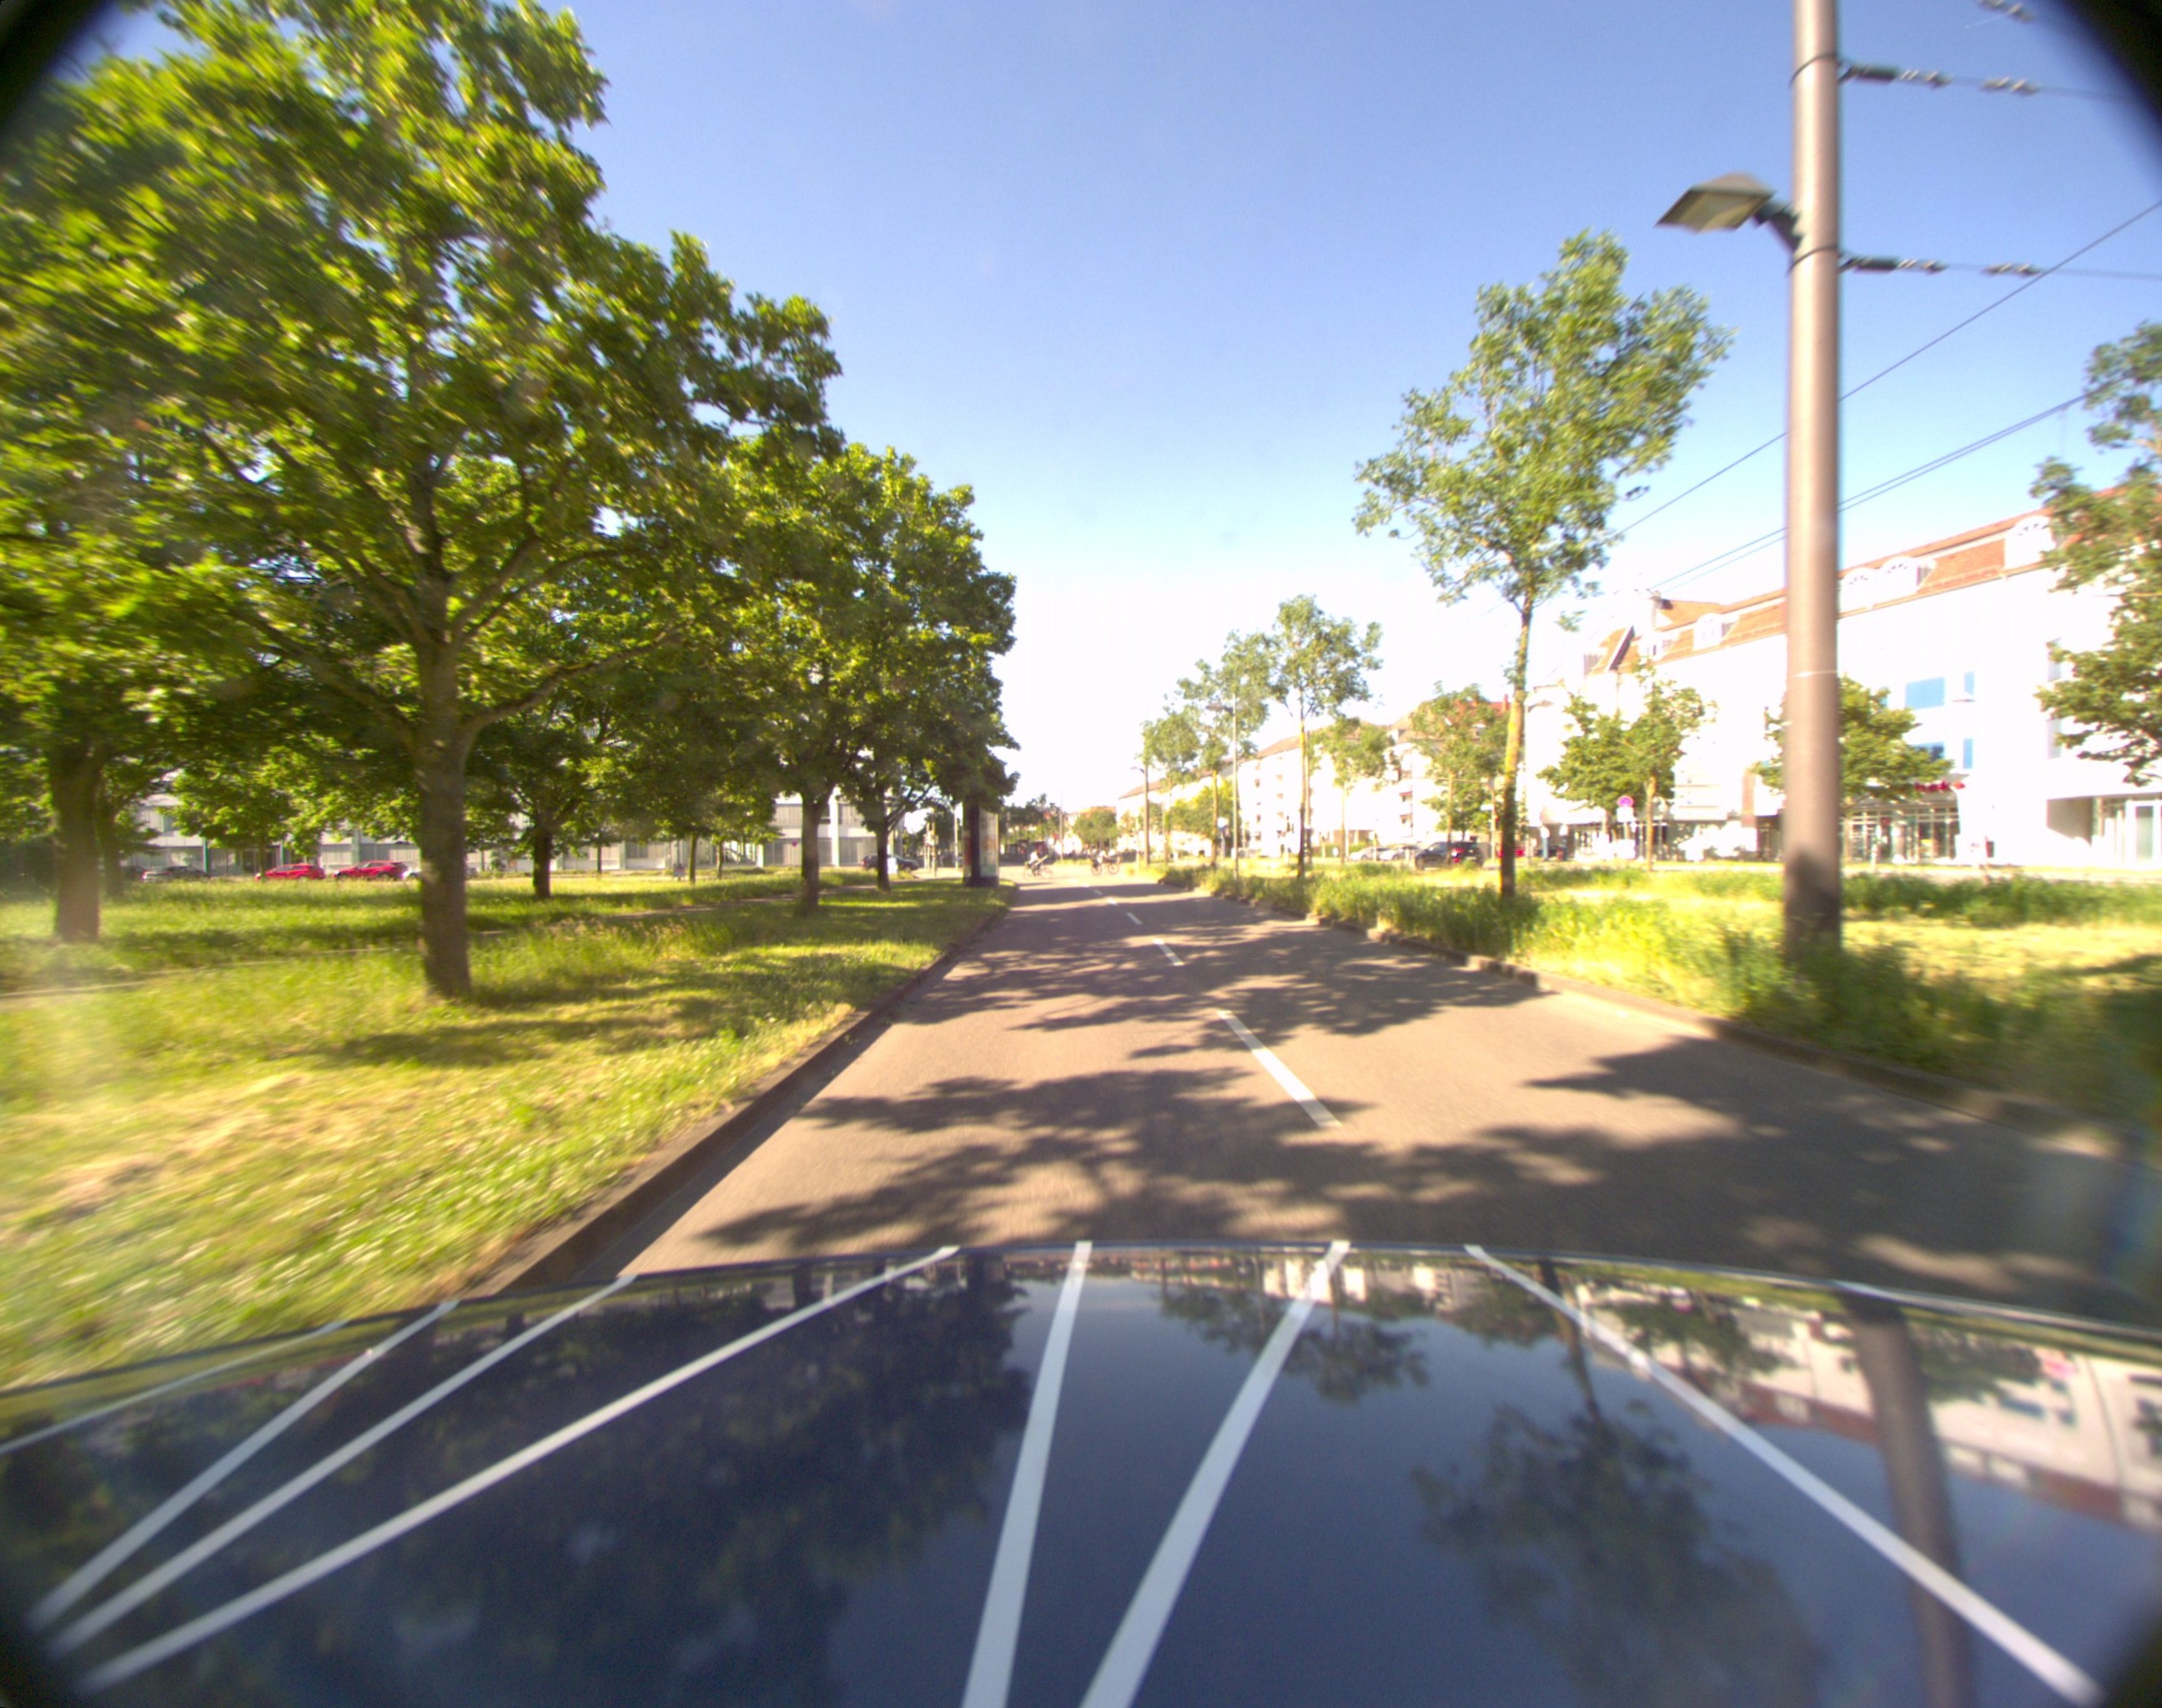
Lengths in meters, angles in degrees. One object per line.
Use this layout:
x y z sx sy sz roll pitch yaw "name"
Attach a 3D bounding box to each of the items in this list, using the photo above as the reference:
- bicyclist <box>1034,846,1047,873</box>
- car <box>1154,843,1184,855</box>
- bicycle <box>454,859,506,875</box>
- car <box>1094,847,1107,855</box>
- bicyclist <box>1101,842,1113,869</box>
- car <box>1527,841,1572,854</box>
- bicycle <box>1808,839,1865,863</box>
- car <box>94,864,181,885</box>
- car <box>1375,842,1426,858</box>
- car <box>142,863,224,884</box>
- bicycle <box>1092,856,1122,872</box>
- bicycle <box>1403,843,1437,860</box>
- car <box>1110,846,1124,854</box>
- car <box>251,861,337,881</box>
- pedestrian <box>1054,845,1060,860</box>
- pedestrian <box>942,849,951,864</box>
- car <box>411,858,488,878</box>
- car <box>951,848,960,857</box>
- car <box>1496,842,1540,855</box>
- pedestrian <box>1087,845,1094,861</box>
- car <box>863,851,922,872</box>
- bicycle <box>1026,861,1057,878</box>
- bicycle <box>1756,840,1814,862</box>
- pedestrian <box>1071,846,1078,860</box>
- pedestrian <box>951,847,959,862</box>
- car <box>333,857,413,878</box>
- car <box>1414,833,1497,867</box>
-2.450 0.335 45.364 0.715 1.591 0.849 -1 1 -5 "bicyclist"
13.711 -0.761 118.487 4.232 1.700 1.696 -1 1 19 "car"
-53.403 1.177 67.580 3.536 1.340 0.989 -1 1 -12 "bicycle"
4.429 -0.724 171.445 1.834 1.700 4.236 -1 0 -12 "car"
1.668 0.107 48.855 0.715 1.682 0.816 -1 1 -4 "bicyclist"
49.734 -0.666 80.652 4.091 1.303 1.701 -1 1 -13 "car"
40.706 -0.159 40.943 2.552 1.206 0.719 -1 1 -6 "bicycle"
-72.186 1.522 58.212 1.920 1.412 4.282 -1 0 -14 "car"
32.475 -0.395 77.201 4.190 1.457 2.331 -1 1 -13 "car"
-69.420 1.487 58.864 1.920 1.412 4.282 -1 0 -14 "car"
1.645 0.647 48.859 1.828 0.958 0.816 -1 1 -4 "bicycle"
27.887 -0.198 62.534 2.580 1.302 0.662 -1 1 -8 "bicycle"
7.407 -0.836 156.303 1.694 1.700 4.236 -1 0 -12 "car"
-62.093 1.322 60.013 4.289 1.412 1.917 -1 1 -15 "car"
-2.771 -0.122 86.957 0.641 1.687 0.607 -1 1 -10 "pedestrian"
-14.760 0.281 83.133 0.732 1.687 0.736 -1 1 10 "pedestrian"
-50.588 1.108 60.925 4.289 1.412 1.917 -1 1 -15 "car"
-25.156 -0.259 152.277 1.694 1.700 4.236 -1 0 -12 "car"
48.029 -0.605 83.549 4.091 1.303 1.701 -1 1 -13 "car"
1.047 -0.110 85.547 0.723 1.687 0.608 -1 1 -6 "pedestrian"
-15.612 0.574 63.134 4.632 1.613 1.998 -1 1 -11 "car"
-2.378 0.892 45.372 1.828 0.958 0.855 -1 1 -5 "bicycle"
39.447 -0.169 42.609 0.719 1.206 2.551 -1 1 -7 "bicycle"
-0.710 -0.092 89.642 0.733 1.687 0.735 -1 1 -6 "pedestrian"
-14.385 0.091 86.865 0.882 1.687 0.735 -1 1 -6 "pedestrian"
-57.063 1.081 61.329 4.289 1.585 1.917 -1 1 -15 "car"
19.609 -0.203 40.017 1.825 1.631 4.486 -1 0 -6 "car"
